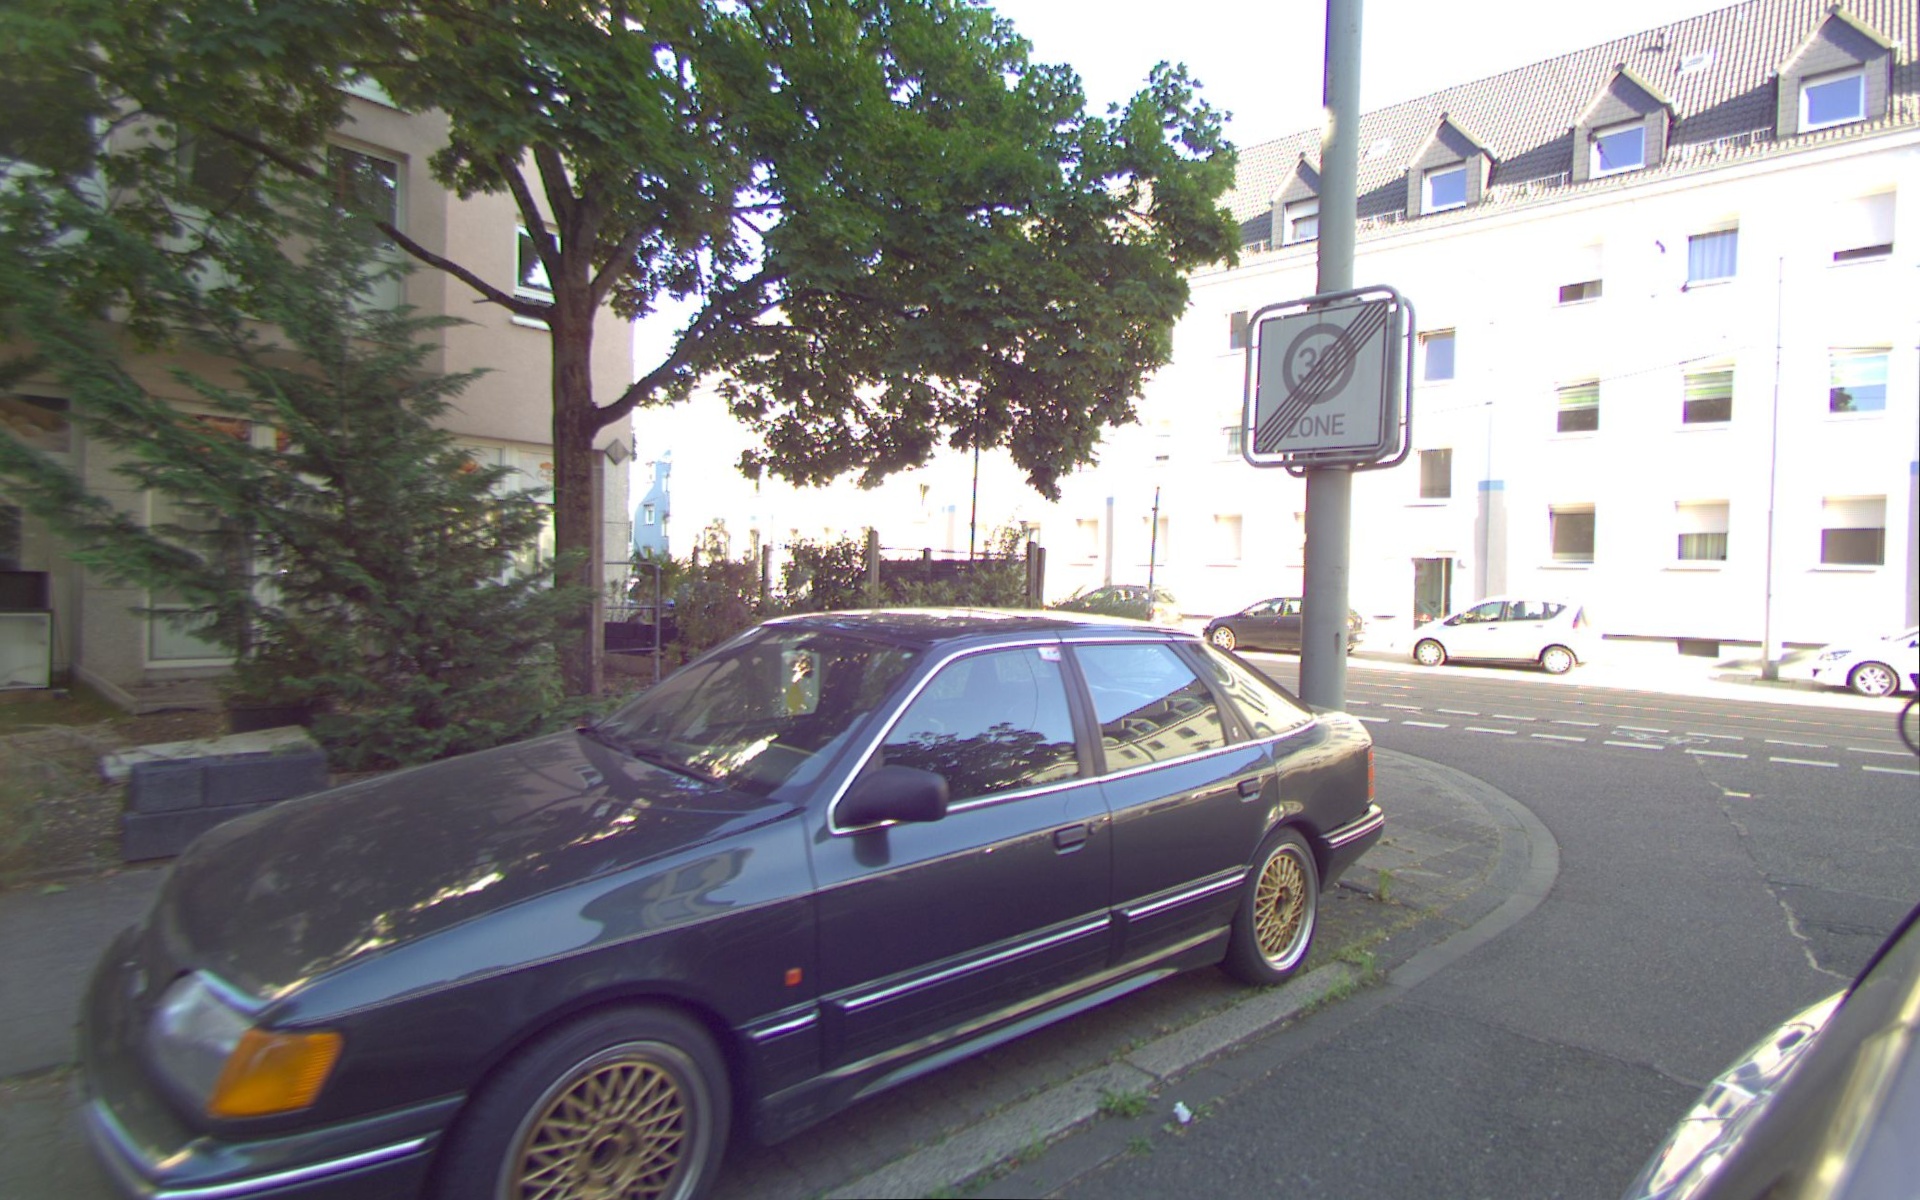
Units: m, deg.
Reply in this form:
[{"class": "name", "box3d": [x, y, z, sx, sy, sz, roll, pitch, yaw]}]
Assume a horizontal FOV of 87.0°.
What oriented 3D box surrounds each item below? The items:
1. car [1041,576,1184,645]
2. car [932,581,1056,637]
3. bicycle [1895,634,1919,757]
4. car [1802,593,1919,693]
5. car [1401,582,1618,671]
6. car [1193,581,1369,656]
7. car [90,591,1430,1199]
[{"class": "car", "box3d": [4.358, 0.236, 29.247, 3.891, 1.689, 1.641, 3, 5, 43]}, {"class": "car", "box3d": [1.048, 0.231, 32.506, 3.766, 1.501, 1.775, 3, 6, 43]}, {"class": "bicycle", "box3d": [9.821, 0.938, 9.151, 1.953, 1.115, 0.615, 3, 3, 42]}, {"class": "car", "box3d": [17.390, 0.786, 17.326, 4.493, 1.590, 1.660, 3, 3, 42]}, {"class": "car", "box3d": [12.039, 0.501, 22.318, 3.892, 1.589, 1.733, 3, 5, 44]}, {"class": "car", "box3d": [8.126, 0.410, 25.779, 3.989, 1.555, 1.576, 3, 7, 40]}, {"class": "car", "box3d": [-0.157, 0.702, 3.640, 4.491, 1.405, 1.711, 0, 2, -42]}]
